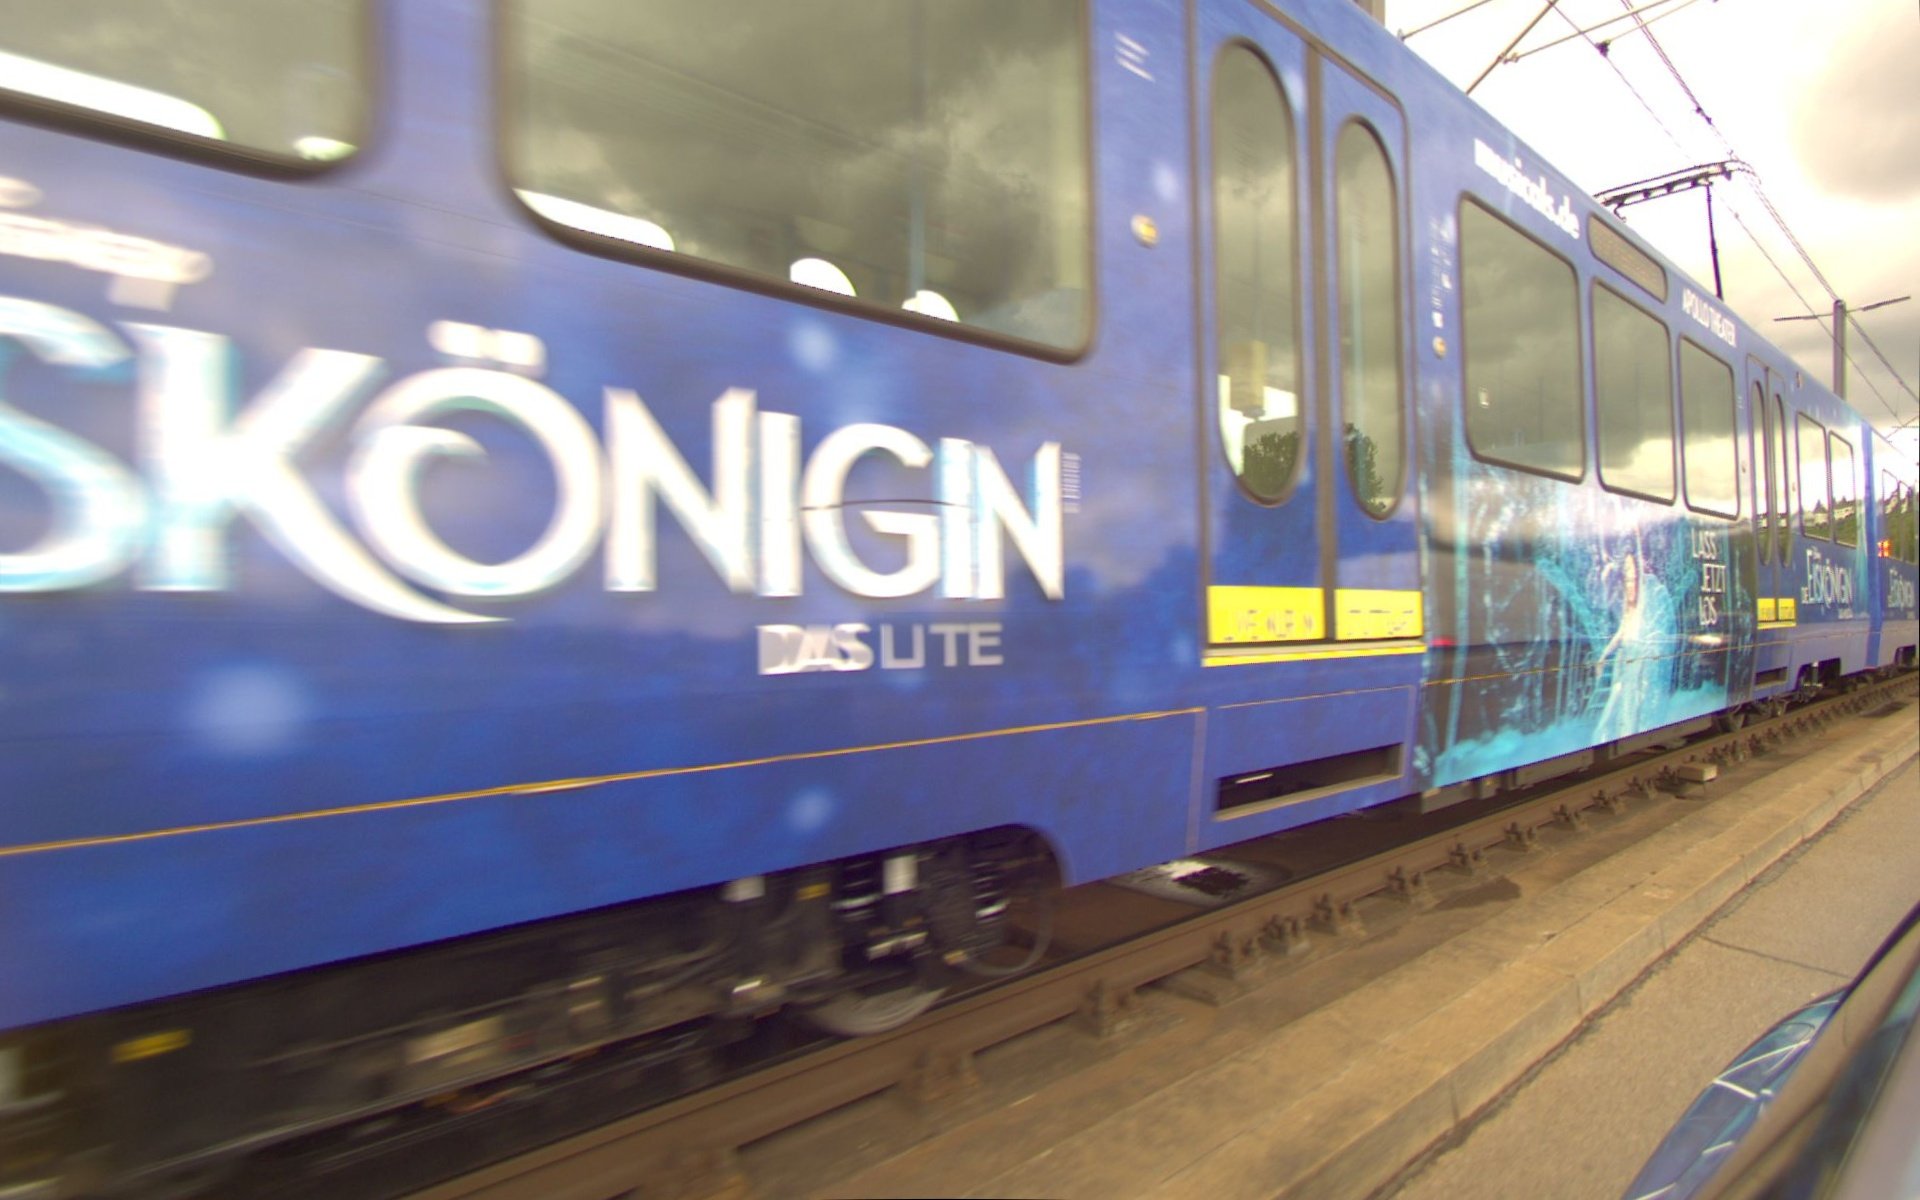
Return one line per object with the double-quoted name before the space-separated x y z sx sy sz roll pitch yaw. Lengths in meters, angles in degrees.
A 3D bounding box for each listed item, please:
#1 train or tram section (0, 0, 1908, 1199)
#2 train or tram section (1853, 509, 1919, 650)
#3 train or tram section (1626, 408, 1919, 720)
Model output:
"train or tram section" 2.998 -0.462 6.573 19.548 3.812 2.797 0 0 -42
"train or tram section" 31.693 -0.478 32.050 18.342 3.625 2.835 0 2 -42
"train or tram section" 17.567 -0.526 19.541 19.548 3.701 2.790 0 2 -42
